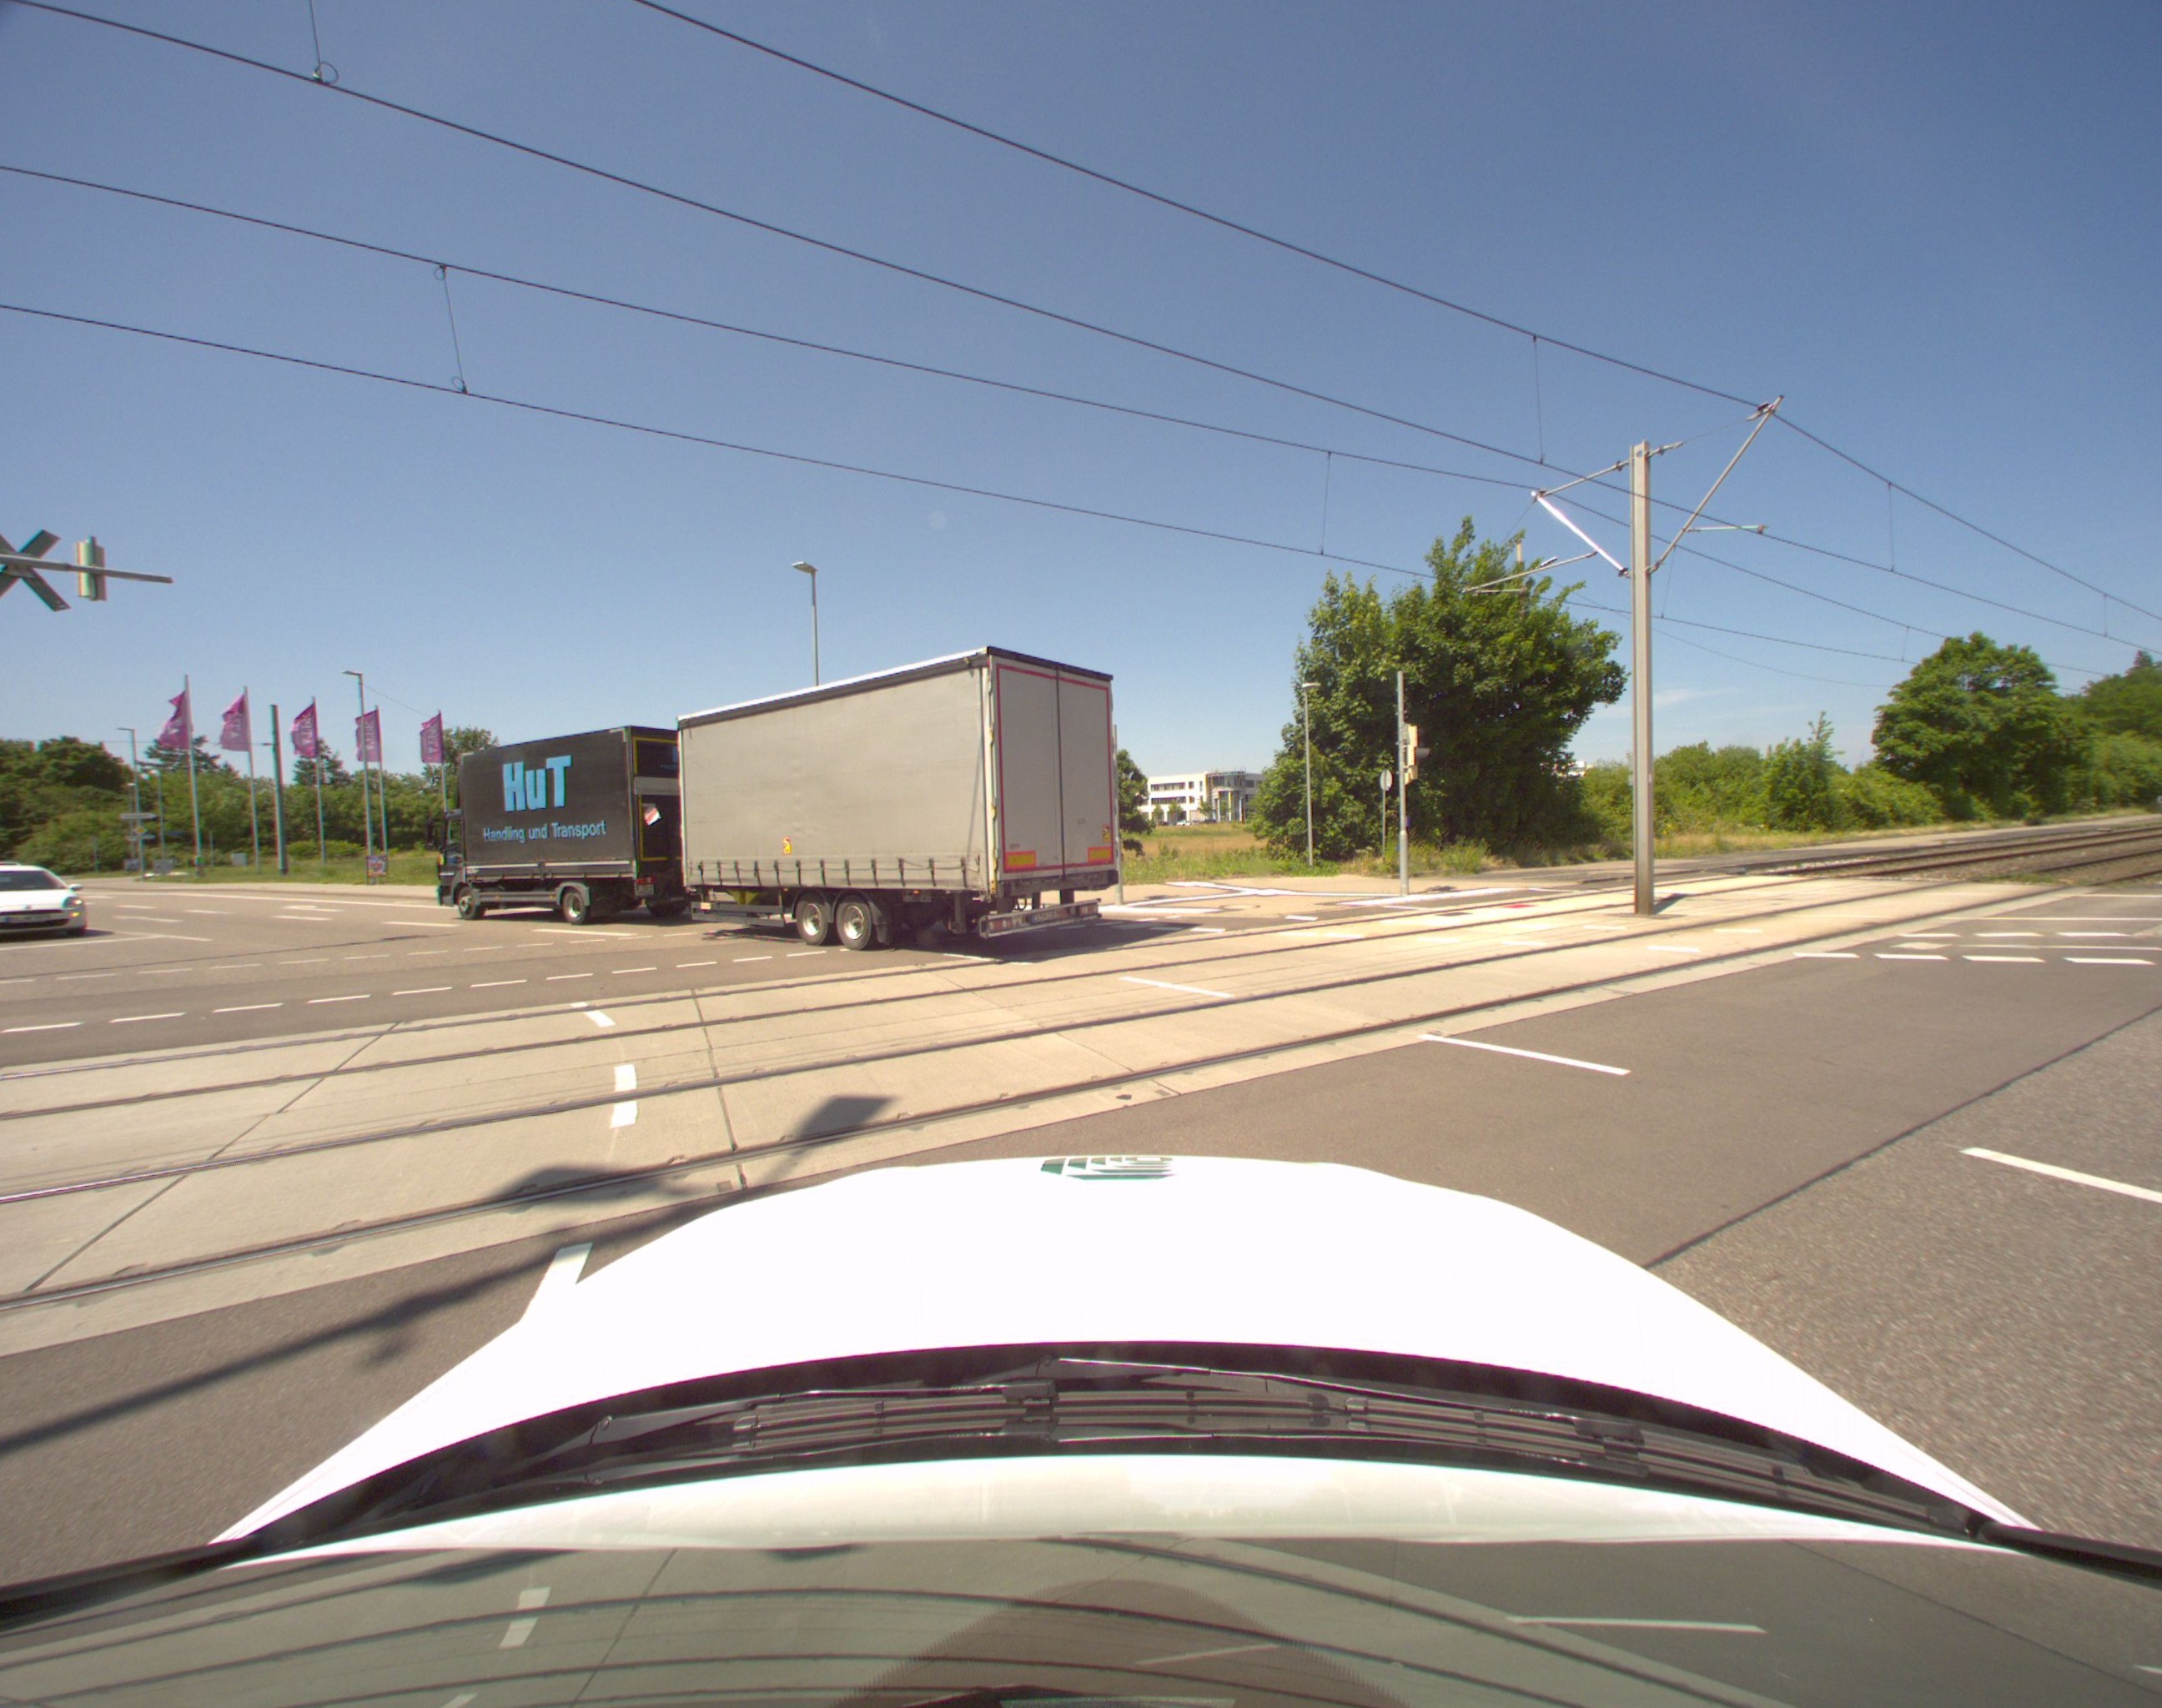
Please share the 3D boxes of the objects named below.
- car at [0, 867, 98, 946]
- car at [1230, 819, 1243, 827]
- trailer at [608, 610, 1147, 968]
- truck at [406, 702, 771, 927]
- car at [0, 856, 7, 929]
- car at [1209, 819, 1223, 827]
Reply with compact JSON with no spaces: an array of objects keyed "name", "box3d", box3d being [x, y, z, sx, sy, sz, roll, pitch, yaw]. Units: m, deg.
[{"name":"car","box3d":[-21.954,1.024,16.482,3.911,1.437,1.784,-1,1,27]},{"name":"car","box3d":[39.657,-7.866,208.139,1.974,2.013,4.026,-1,2,31]},{"name":"trailer","box3d":[-3.892,-0.784,13.437,9.682,4.069,3.108,0,2,37]},{"name":"truck","box3d":[-10.912,-0.728,17.906,7.858,4.069,3.106,-1,1,27]},{"name":"car","box3d":[-27.863,0.949,19.477,4.770,1.723,1.829,0,2,28]},{"name":"car","box3d":[34.623,-7.864,208.635,1.974,2.013,4.026,-1,2,34]}]
